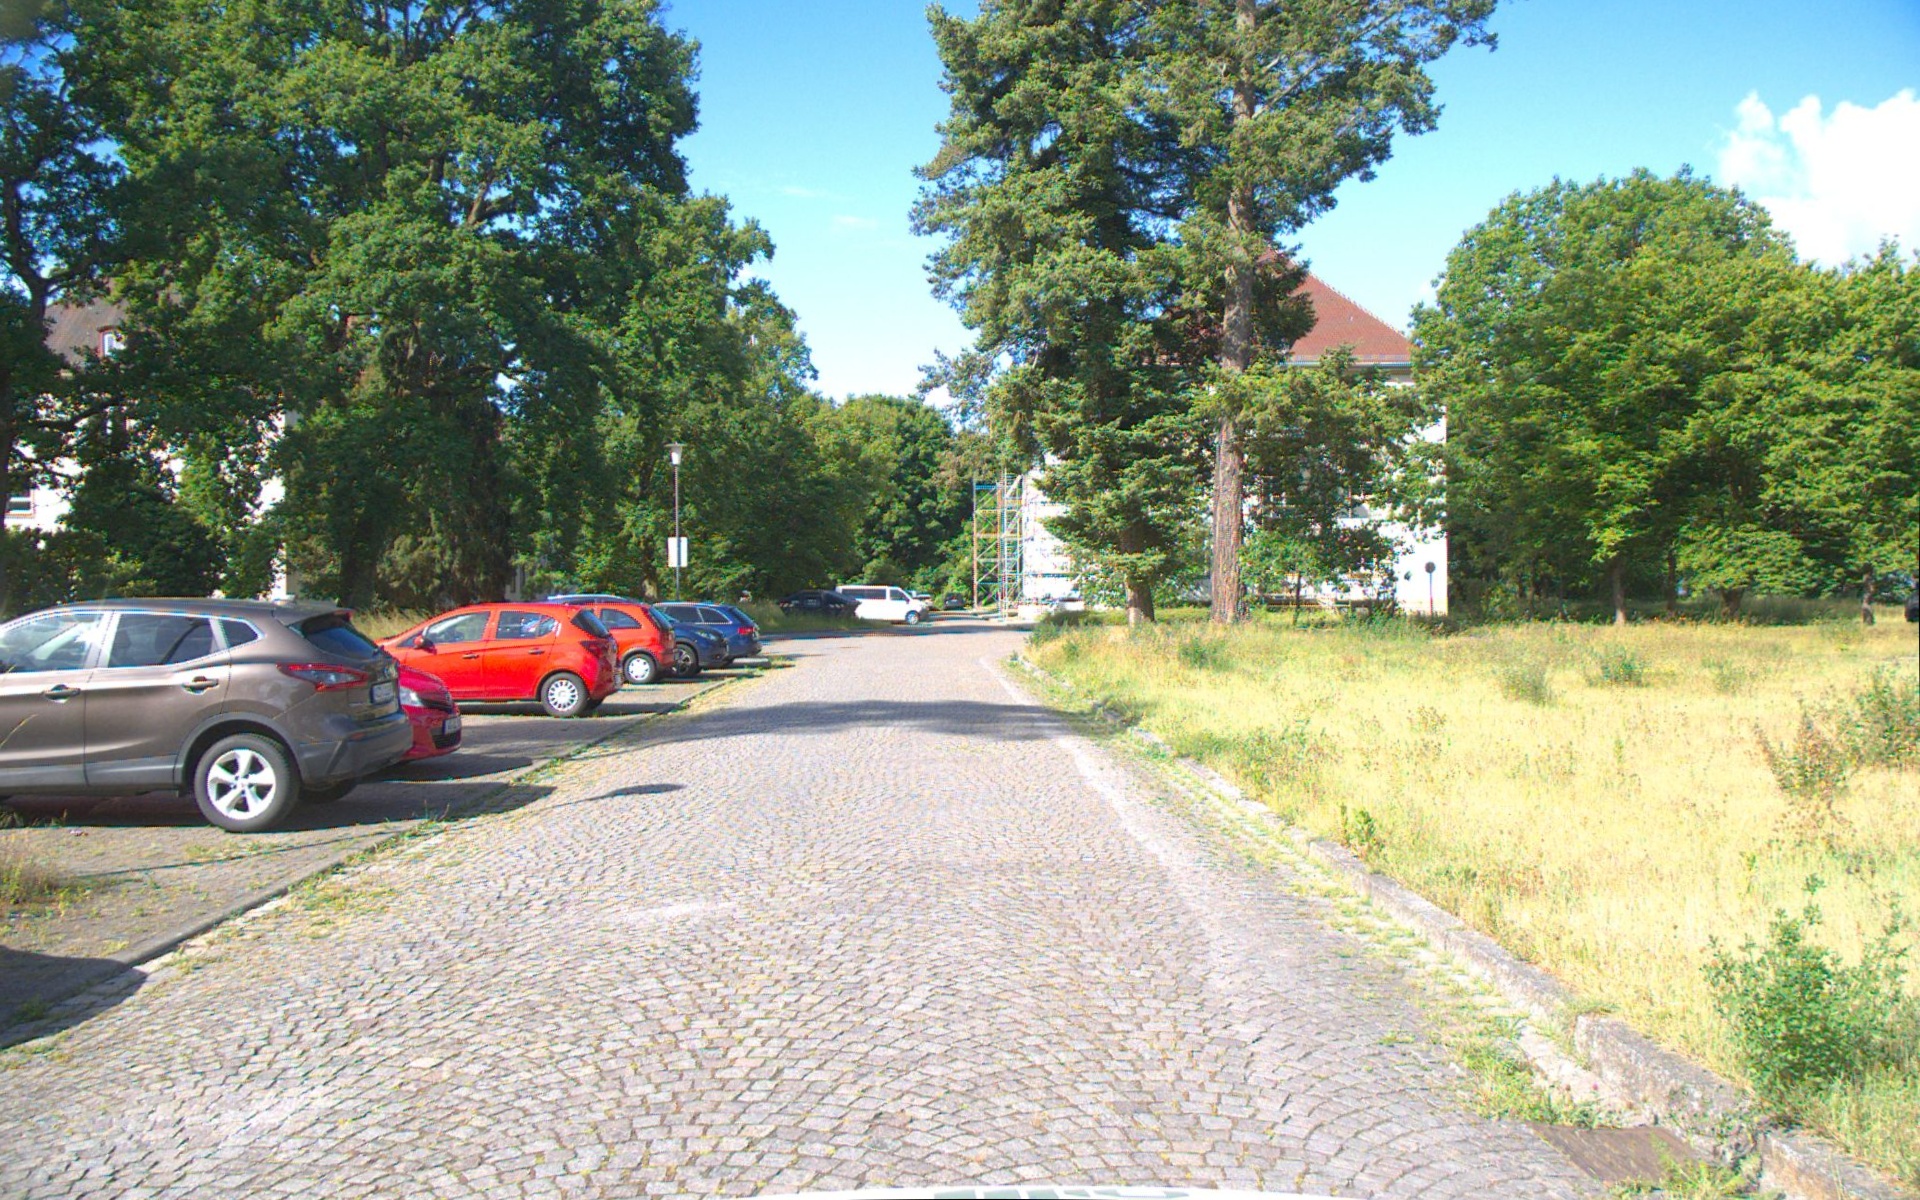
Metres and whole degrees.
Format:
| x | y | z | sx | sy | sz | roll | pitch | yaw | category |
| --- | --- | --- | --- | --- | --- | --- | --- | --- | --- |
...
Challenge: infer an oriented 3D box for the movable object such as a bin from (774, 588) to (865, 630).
| x | y | z | sx | sy | sz | roll | pitch | yaw | category |
| --- | --- | --- | --- | --- | --- | --- | --- | --- | --- |
| -6.223 | 0.377 | 73.374 | 3.490 | 1.775 | 2.026 | -1 | 0 | 17 | movable object such as a bin |

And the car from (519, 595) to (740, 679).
| x | y | z | sx | sy | sz | roll | pitch | yaw | category |
| --- | --- | --- | --- | --- | --- | --- | --- | --- | --- |
| -6.505 | 0.718 | 32.891 | 4.051 | 1.607 | 1.884 | 0 | 0 | -2 | car |

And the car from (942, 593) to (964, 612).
| x | y | z | sx | sy | sz | roll | pitch | yaw | category |
| --- | --- | --- | --- | --- | --- | --- | --- | --- | --- |
| -0.673 | 0.212 | 152.962 | 1.931 | 1.697 | 4.084 | -1 | 0 | -2 | car |

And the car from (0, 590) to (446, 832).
| x | y | z | sx | sy | sz | roll | pitch | yaw | category |
| --- | --- | --- | --- | --- | --- | --- | --- | --- | --- |
| -6.063 | 0.758 | 12.292 | 3.874 | 1.595 | 1.973 | 1 | 1 | -3 | car |

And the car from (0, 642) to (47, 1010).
| x | y | z | sx | sy | sz | roll | pitch | yaw | category |
| --- | --- | --- | --- | --- | --- | --- | --- | --- | --- |
| -5.662 | 0.881 | 5.969 | 3.741 | 1.465 | 1.681 | 1 | 0 | -5 | car |

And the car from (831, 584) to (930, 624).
| x | y | z | sx | sy | sz | roll | pitch | yaw | category |
| --- | --- | --- | --- | --- | --- | --- | --- | --- | --- |
| -4.147 | 0.210 | 86.535 | 5.129 | 2.051 | 1.949 | 0 | 0 | -2 | car |

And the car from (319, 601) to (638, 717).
| x | y | z | sx | sy | sz | roll | pitch | yaw | category |
| --- | --- | --- | --- | --- | --- | --- | --- | --- | --- |
| -6.483 | 0.778 | 22.607 | 3.845 | 1.486 | 1.841 | 0 | 1 | -3 | car |

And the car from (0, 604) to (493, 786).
| x | y | z | sx | sy | sz | roll | pitch | yaw | category |
| --- | --- | --- | --- | --- | --- | --- | --- | --- | --- |
| -6.419 | 0.815 | 15.013 | 3.845 | 1.474 | 1.866 | 1 | 1 | -3 | car |

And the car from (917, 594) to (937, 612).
| x | y | z | sx | sy | sz | roll | pitch | yaw | category |
| --- | --- | --- | --- | --- | --- | --- | --- | --- | --- |
| -3.020 | 0.306 | 152.591 | 1.776 | 1.607 | 4.133 | -1 | 0 | -2 | car |

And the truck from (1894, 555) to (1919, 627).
| x | y | z | sx | sy | sz | roll | pitch | yaw | category |
| --- | --- | --- | --- | --- | --- | --- | --- | --- | --- |
| 34.054 | -0.279 | 54.740 | 2.188 | 2.466 | 6.883 | 1 | 0 | -2 | truck |

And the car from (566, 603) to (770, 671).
| x | y | z | sx | sy | sz | roll | pitch | yaw | category |
| --- | --- | --- | --- | --- | --- | --- | --- | --- | --- |
| -6.572 | 0.818 | 37.573 | 4.269 | 1.470 | 1.921 | 0 | 1 | 1 | car |

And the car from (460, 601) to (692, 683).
| x | y | z | sx | sy | sz | roll | pitch | yaw | category |
| --- | --- | --- | --- | --- | --- | --- | --- | --- | --- |
| -7.017 | 0.750 | 30.479 | 3.843 | 1.458 | 1.842 | 0 | 1 | 0 | car |
